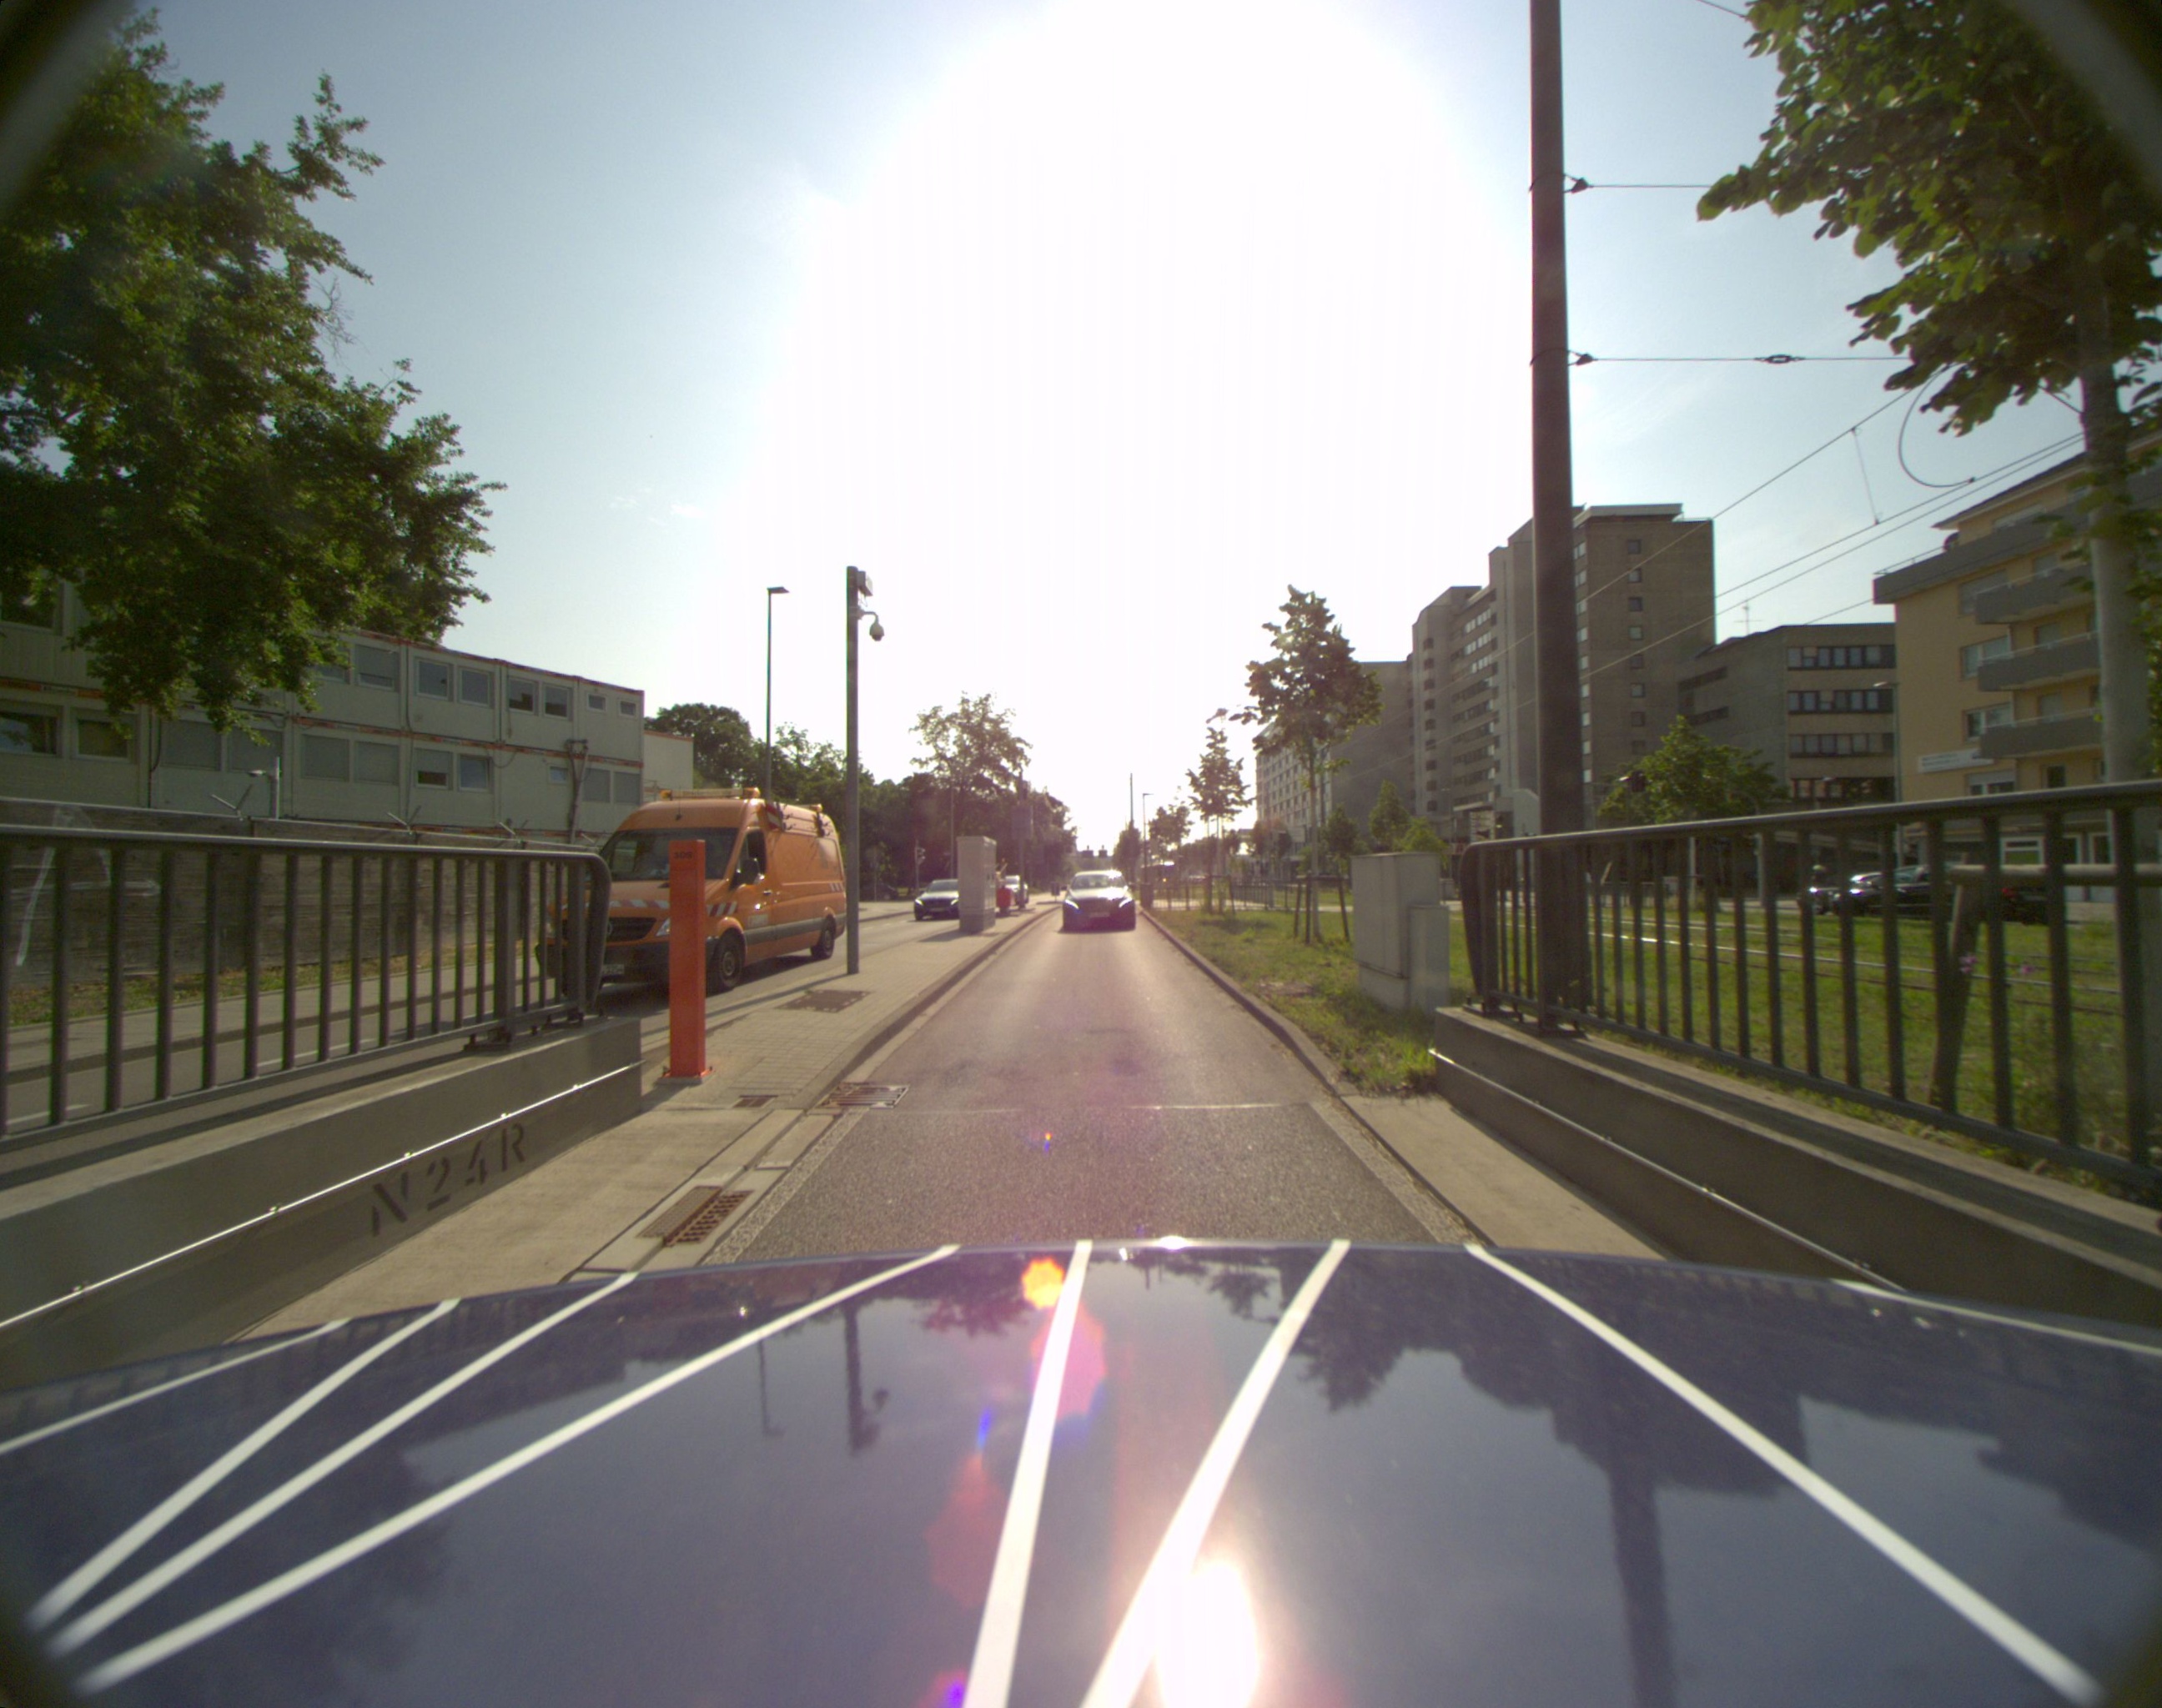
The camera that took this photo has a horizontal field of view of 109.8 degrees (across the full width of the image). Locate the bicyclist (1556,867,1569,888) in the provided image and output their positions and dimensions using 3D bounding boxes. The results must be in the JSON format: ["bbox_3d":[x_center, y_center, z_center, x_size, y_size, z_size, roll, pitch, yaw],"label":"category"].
[{"bbox_3d":[34.477,1.689,54.439,0.619,1.491,0.989,-2,-2,41],"label":"bicyclist"}]

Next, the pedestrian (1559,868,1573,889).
[{"bbox_3d":[40.081,2.025,62.733,0.699,1.766,0.625,0,-1,-11],"label":"pedestrian"}]

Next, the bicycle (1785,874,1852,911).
[{"bbox_3d":[27.612,1.414,28.491,0.696,1.338,1.757,-1,-1,-3],"label":"bicycle"}]

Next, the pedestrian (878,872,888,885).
[{"bbox_3d":[-29.228,3.593,112.335,0.983,1.820,1.072,-1,-1,32],"label":"pedestrian"}]

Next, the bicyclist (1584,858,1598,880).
[{"bbox_3d":[33.856,1.012,50.431,0.686,1.432,0.807,-3,-1,30],"label":"bicyclist"}]

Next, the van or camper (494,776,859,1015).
[{"bbox_3d":[-5.183,0.529,11.095,1.991,2.457,6.063,-2,-2,0],"label":"van or camper"}]

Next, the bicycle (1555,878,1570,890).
[{"bbox_3d":[34.511,2.137,54.462,0.627,0.788,2.007,-2,-2,41],"label":"bicycle"}]

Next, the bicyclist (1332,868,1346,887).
[{"bbox_3d":[19.549,1.783,57.497,0.911,1.376,0.705,-2,-3,26],"label":"bicyclist"}]

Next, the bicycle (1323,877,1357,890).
[{"bbox_3d":[19.552,2.216,57.471,2.340,0.993,0.709,-1,-1,26],"label":"bicycle"}]

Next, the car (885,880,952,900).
[{"bbox_3d":[-11.654,2.589,54.554,4.273,1.397,2.003,-1,-1,20],"label":"car"}]

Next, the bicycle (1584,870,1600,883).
[{"bbox_3d":[33.894,1.492,50.438,0.719,0.793,1.607,-3,-1,30],"label":"bicycle"}]

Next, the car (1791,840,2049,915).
[{"bbox_3d":[25.166,0.685,23.201,1.999,2.001,5.303,-1,-1,0],"label":"car"}]

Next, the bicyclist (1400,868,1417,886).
[{"bbox_3d":[25.913,1.812,60.159,1.024,1.431,0.685,-1,-1,0],"label":"bicyclist"}]

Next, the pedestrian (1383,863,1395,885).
[{"bbox_3d":[23.920,1.565,59.005,0.660,1.680,0.646,-1,-1,5],"label":"pedestrian"}]

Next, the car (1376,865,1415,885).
[{"bbox_3d":[32.661,2.179,78.859,4.119,1.956,1.875,0,-1,-37],"label":"car"}]

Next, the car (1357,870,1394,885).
[{"bbox_3d":[31.956,2.519,82.336,4.119,1.596,1.875,0,-1,-37],"label":"car"}]

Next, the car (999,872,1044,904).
[{"bbox_3d":[-3.204,1.832,41.789,1.897,1.561,4.252,-2,-1,2],"label":"car"}]

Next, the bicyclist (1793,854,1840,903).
[{"bbox_3d":[27.596,0.931,28.525,0.671,1.794,1.084,-1,-1,-2],"label":"bicyclist"}]

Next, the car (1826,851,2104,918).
[{"bbox_3d":[22.393,0.745,19.593,1.999,1.504,4.399,-1,-1,0],"label":"car"}]

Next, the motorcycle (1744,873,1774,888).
[{"bbox_3d":[48.978,1.898,54.915,0.494,1.011,1.947,-1,-1,2],"label":"motorcycle"}]

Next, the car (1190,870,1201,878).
[{"bbox_3d":[22.433,3.934,149.213,1.811,1.564,4.002,-1,-1,4],"label":"car"}]

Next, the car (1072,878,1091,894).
[{"bbox_3d":[0.094,3.395,80.394,1.904,1.584,4.002,-1,-2,2],"label":"car"}]

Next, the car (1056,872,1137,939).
[{"bbox_3d":[0.457,1.214,19.327,1.759,1.436,4.620,-2,-1,2],"label":"car"}]

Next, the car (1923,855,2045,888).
[{"bbox_3d":[57.549,1.078,48.601,1.999,1.957,4.832,-1,-1,-1],"label":"car"}]

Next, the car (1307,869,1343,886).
[{"bbox_3d":[32.897,3.135,102.494,5.419,2.294,1.880,0,-1,-38],"label":"car"}]

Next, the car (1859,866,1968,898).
[{"bbox_3d":[42.332,1.444,38.690,3.632,1.573,1.710,-1,-4,-2],"label":"car"}]

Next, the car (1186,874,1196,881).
[{"bbox_3d":[22.735,4.903,157.502,1.811,1.465,4.002,-1,-1,4],"label":"car"}]

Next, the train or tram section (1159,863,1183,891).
[{"bbox_3d":[11.285,2.852,95.801,2.500,3.408,6.672,-1,-1,3],"label":"train or tram section"}]
